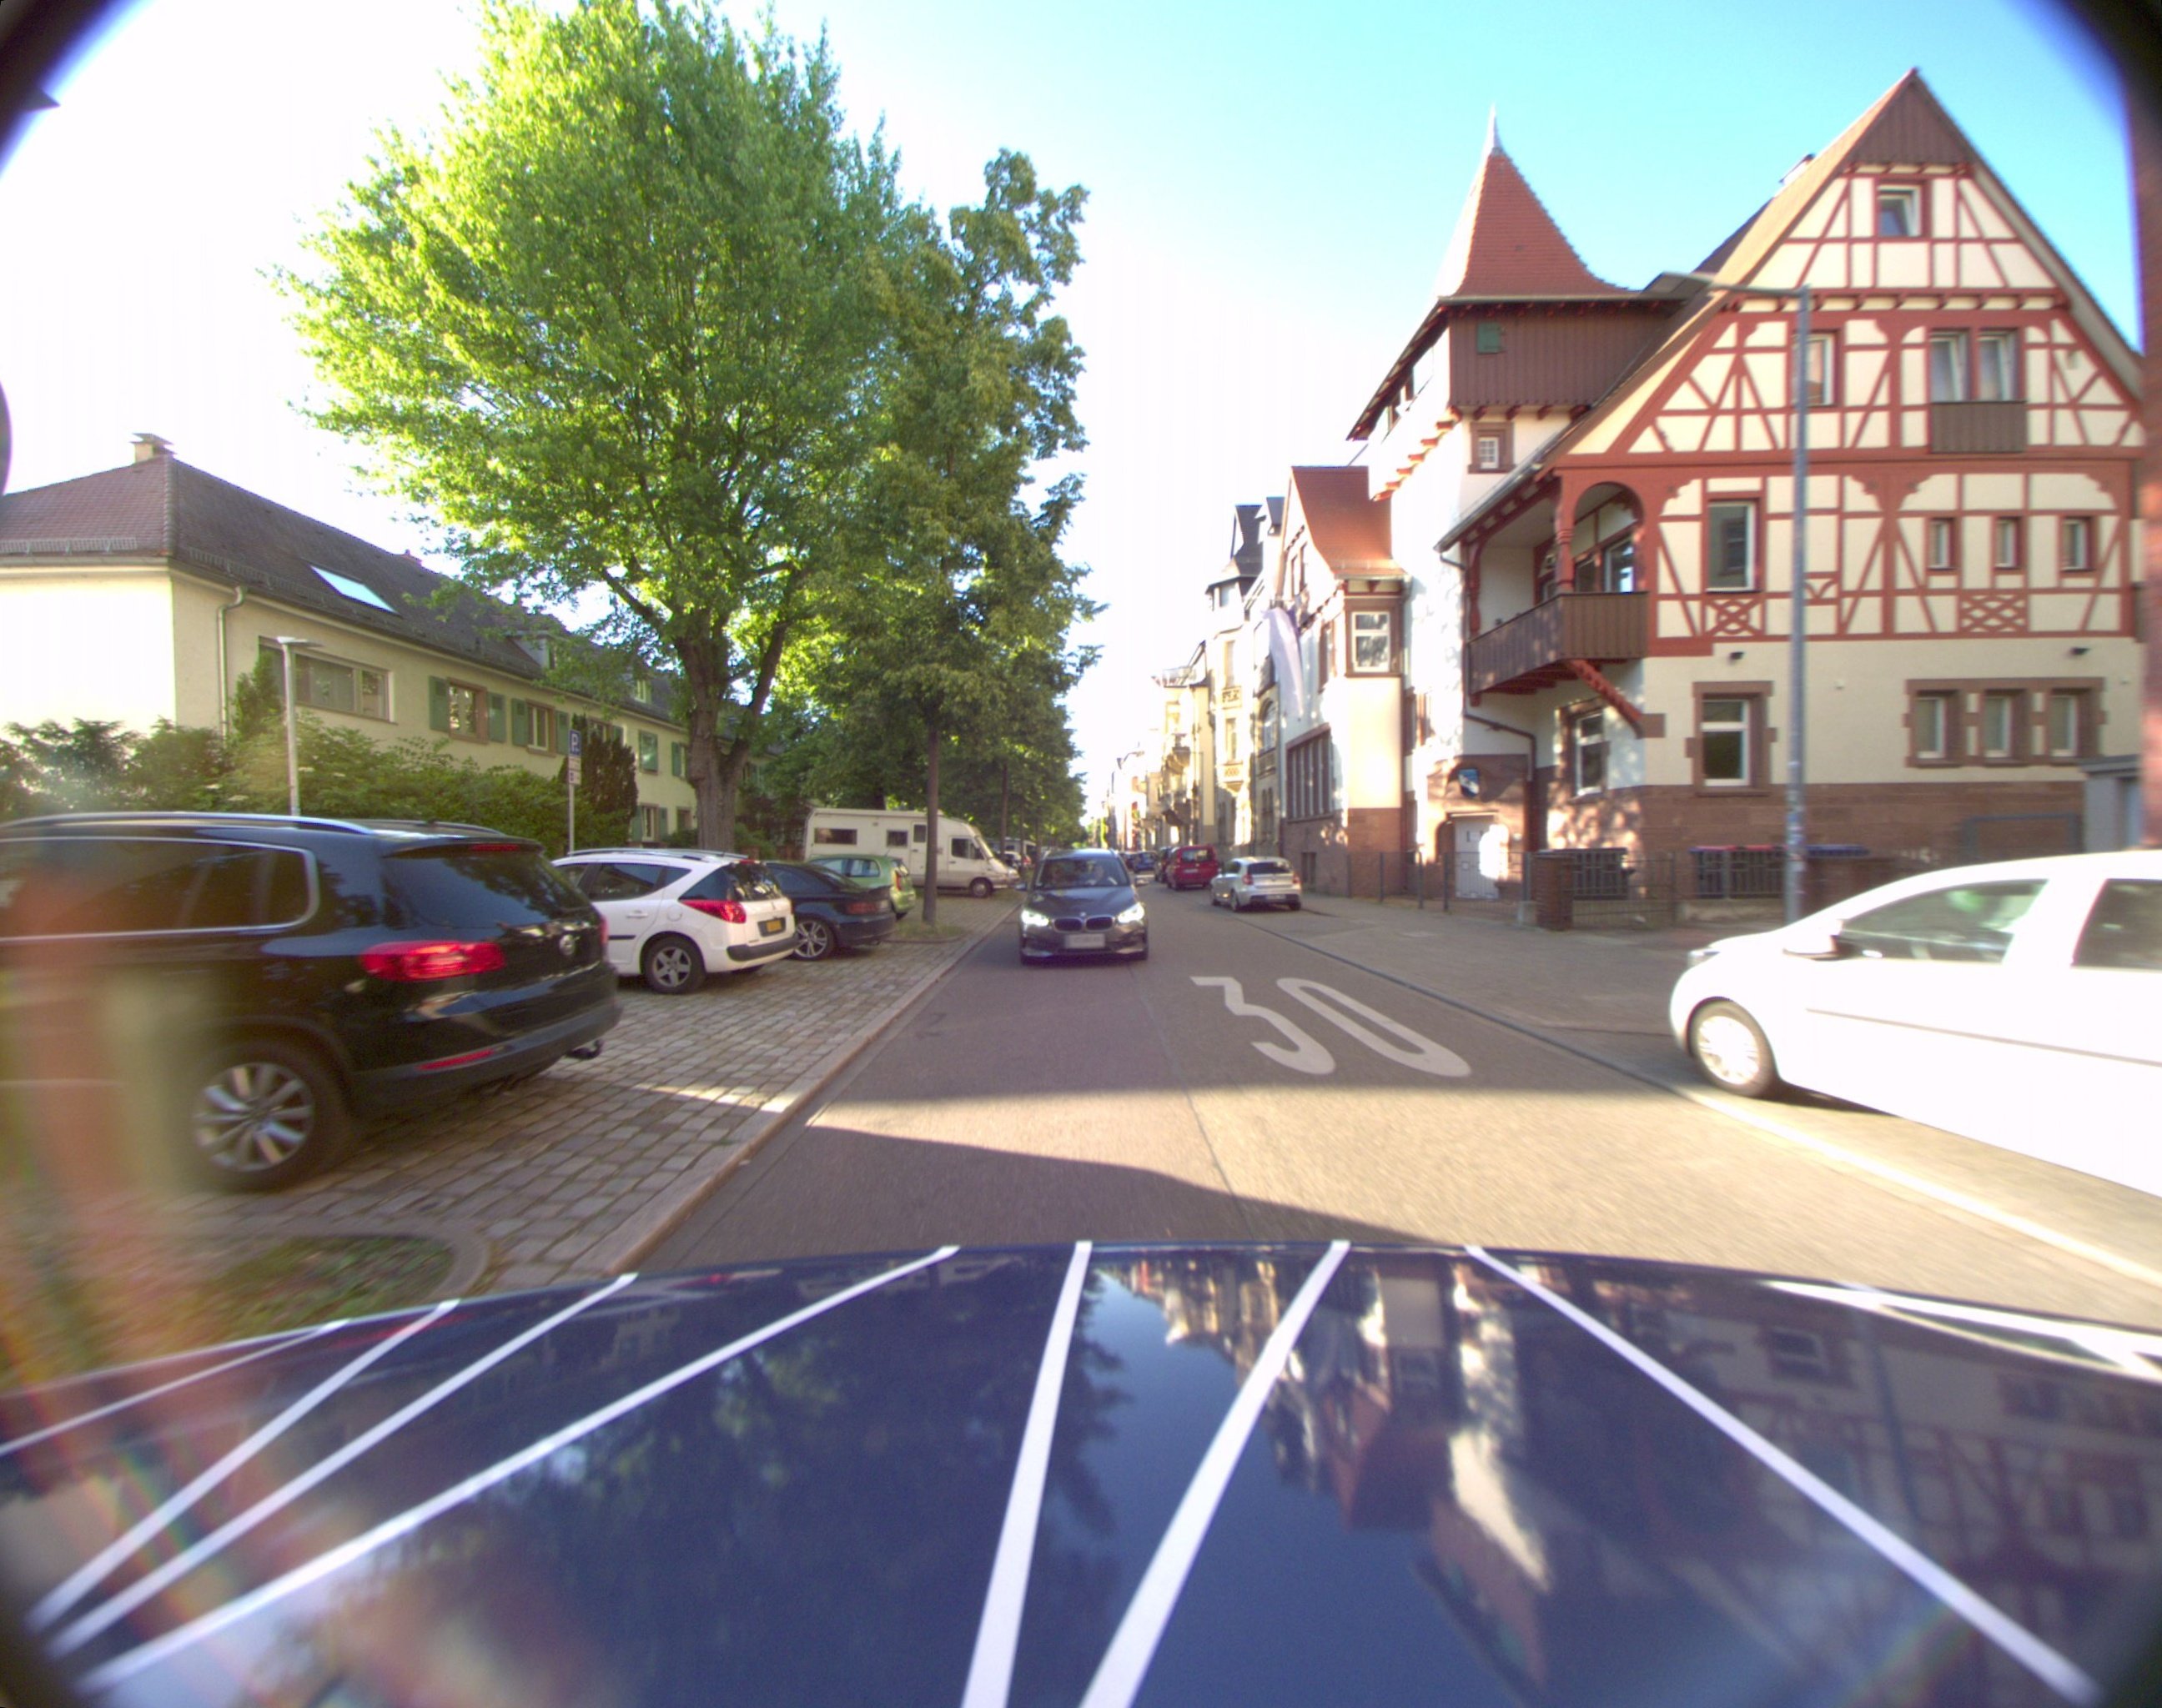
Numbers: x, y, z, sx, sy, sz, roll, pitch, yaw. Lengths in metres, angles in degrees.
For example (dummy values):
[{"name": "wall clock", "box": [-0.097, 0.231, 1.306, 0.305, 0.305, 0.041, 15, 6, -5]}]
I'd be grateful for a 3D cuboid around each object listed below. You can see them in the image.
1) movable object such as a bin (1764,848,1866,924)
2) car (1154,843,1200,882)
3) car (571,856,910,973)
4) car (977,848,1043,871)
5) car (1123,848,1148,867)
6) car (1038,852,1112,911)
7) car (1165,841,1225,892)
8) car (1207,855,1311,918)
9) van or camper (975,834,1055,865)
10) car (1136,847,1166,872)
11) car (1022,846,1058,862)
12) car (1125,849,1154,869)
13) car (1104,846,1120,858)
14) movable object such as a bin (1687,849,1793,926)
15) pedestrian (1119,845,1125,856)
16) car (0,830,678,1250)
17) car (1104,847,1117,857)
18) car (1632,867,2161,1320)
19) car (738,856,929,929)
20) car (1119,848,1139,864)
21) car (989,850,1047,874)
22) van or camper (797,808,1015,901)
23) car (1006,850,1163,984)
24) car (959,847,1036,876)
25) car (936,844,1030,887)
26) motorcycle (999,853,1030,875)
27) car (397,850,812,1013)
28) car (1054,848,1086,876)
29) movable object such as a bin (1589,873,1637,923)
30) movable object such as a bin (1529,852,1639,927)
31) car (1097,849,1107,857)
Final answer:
[{"name": "movable object such as a bin", "box": [13.076, 0.550, 13.565, 1.204, 1.302, 0.631, -1, 1, 2]}, {"name": "car", "box": [4.810, 0.378, 38.626, 1.774, 1.841, 4.541, -2, 1, 0]}, {"name": "car", "box": [-4.791, 0.815, 11.124, 4.115, 1.404, 1.792, 2, 1, 0]}, {"name": "car", "box": [-4.992, 0.396, 53.964, 4.469, 1.469, 1.753, 2, 1, 1]}, {"name": "car", "box": [4.783, 0.262, 66.690, 1.694, 1.458, 3.772, -5, 1, -2]}, {"name": "car", "box": [-0.293, 0.781, 23.679, 1.999, 1.584, 4.260, -2, 0, -4]}, {"name": "car", "box": [4.676, 0.459, 31.791, 1.803, 1.896, 4.324, -2, 1, 0]}, {"name": "car", "box": [4.723, 0.804, 20.766, 1.749, 1.458, 4.102, -1, 1, -2]}, {"name": "van or camper", "box": [-6.181, -0.454, 71.560, 7.266, 2.888, 2.427, 0, 2, 0]}, {"name": "car", "box": [4.719, 0.364, 51.816, 1.688, 1.500, 2.860, -4, 1, 0]}, {"name": "car", "box": [-4.740, 0.010, 88.161, 3.997, 1.804, 2.000, 0, 1, 0]}, {"name": "car", "box": [4.621, 0.369, 60.557, 1.905, 1.431, 4.541, -4, 1, 0]}, {"name": "car", "box": [4.304, -0.327, 106.094, 1.862, 1.595, 3.999, -3, 1, 0]}, {"name": "movable object such as a bin", "box": [11.791, 0.576, 13.617, 1.384, 1.310, 0.686, -1, 1, -7]}, {"name": "pedestrian", "box": [6.615, -0.521, 122.316, 0.779, 1.693, 1.010, 0, 1, 0]}, {"name": "car", "box": [-4.760, 0.757, 4.060, 4.118, 1.703, 2.023, 1, 0, -4]}, {"name": "car", "box": [4.709, -0.299, 121.962, 1.922, 1.510, 3.999, 0, 1, 0]}, {"name": "car", "box": [4.713, 0.891, 3.404, 1.709, 1.477, 3.796, -3, 1, 0]}, {"name": "car", "box": [-5.314, 0.806, 16.630, 3.598, 1.496, 1.678, 0, 0, 1]}, {"name": "car", "box": [4.654, 0.171, 73.781, 1.747, 1.457, 3.998, -2, 1, 1]}, {"name": "car", "box": [-3.928, 0.490, 47.516, 3.456, 1.467, 1.693, 1, 1, 0]}, {"name": "van or camper", "box": [-5.925, -0.013, 26.609, 7.096, 3.060, 2.464, 0, 1, -3]}, {"name": "car", "box": [0.064, 0.792, 11.991, 1.924, 1.597, 4.516, -3, 1, 0]}, {"name": "car", "box": [-4.853, 0.440, 44.856, 4.344, 1.599, 1.927, 1, 2, -1]}, {"name": "car", "box": [-4.326, 0.506, 34.016, 3.924, 1.734, 1.729, 2, 1, 0]}, {"name": "motorcycle", "box": [-3.674, 0.554, 41.757, 0.739, 1.190, 1.771, -1, 1, -44]}, {"name": "car", "box": [-5.253, 0.796, 8.677, 3.701, 1.641, 1.704, -1, 1, 5]}, {"name": "car", "box": [-0.682, 0.483, 49.153, 1.998, 1.745, 3.999, 0, 1, 0]}, {"name": "movable object such as a bin", "box": [9.892, 0.812, 14.141, 0.481, 0.874, 0.673, -1, 1, 10]}, {"name": "movable object such as a bin", "box": [9.044, 0.621, 13.726, 1.378, 1.291, 0.969, -1, 1, 10]}, {"name": "car", "box": [3.912, -0.220, 142.576, 1.702, 1.372, 3.999, 0, 1, 0]}]
